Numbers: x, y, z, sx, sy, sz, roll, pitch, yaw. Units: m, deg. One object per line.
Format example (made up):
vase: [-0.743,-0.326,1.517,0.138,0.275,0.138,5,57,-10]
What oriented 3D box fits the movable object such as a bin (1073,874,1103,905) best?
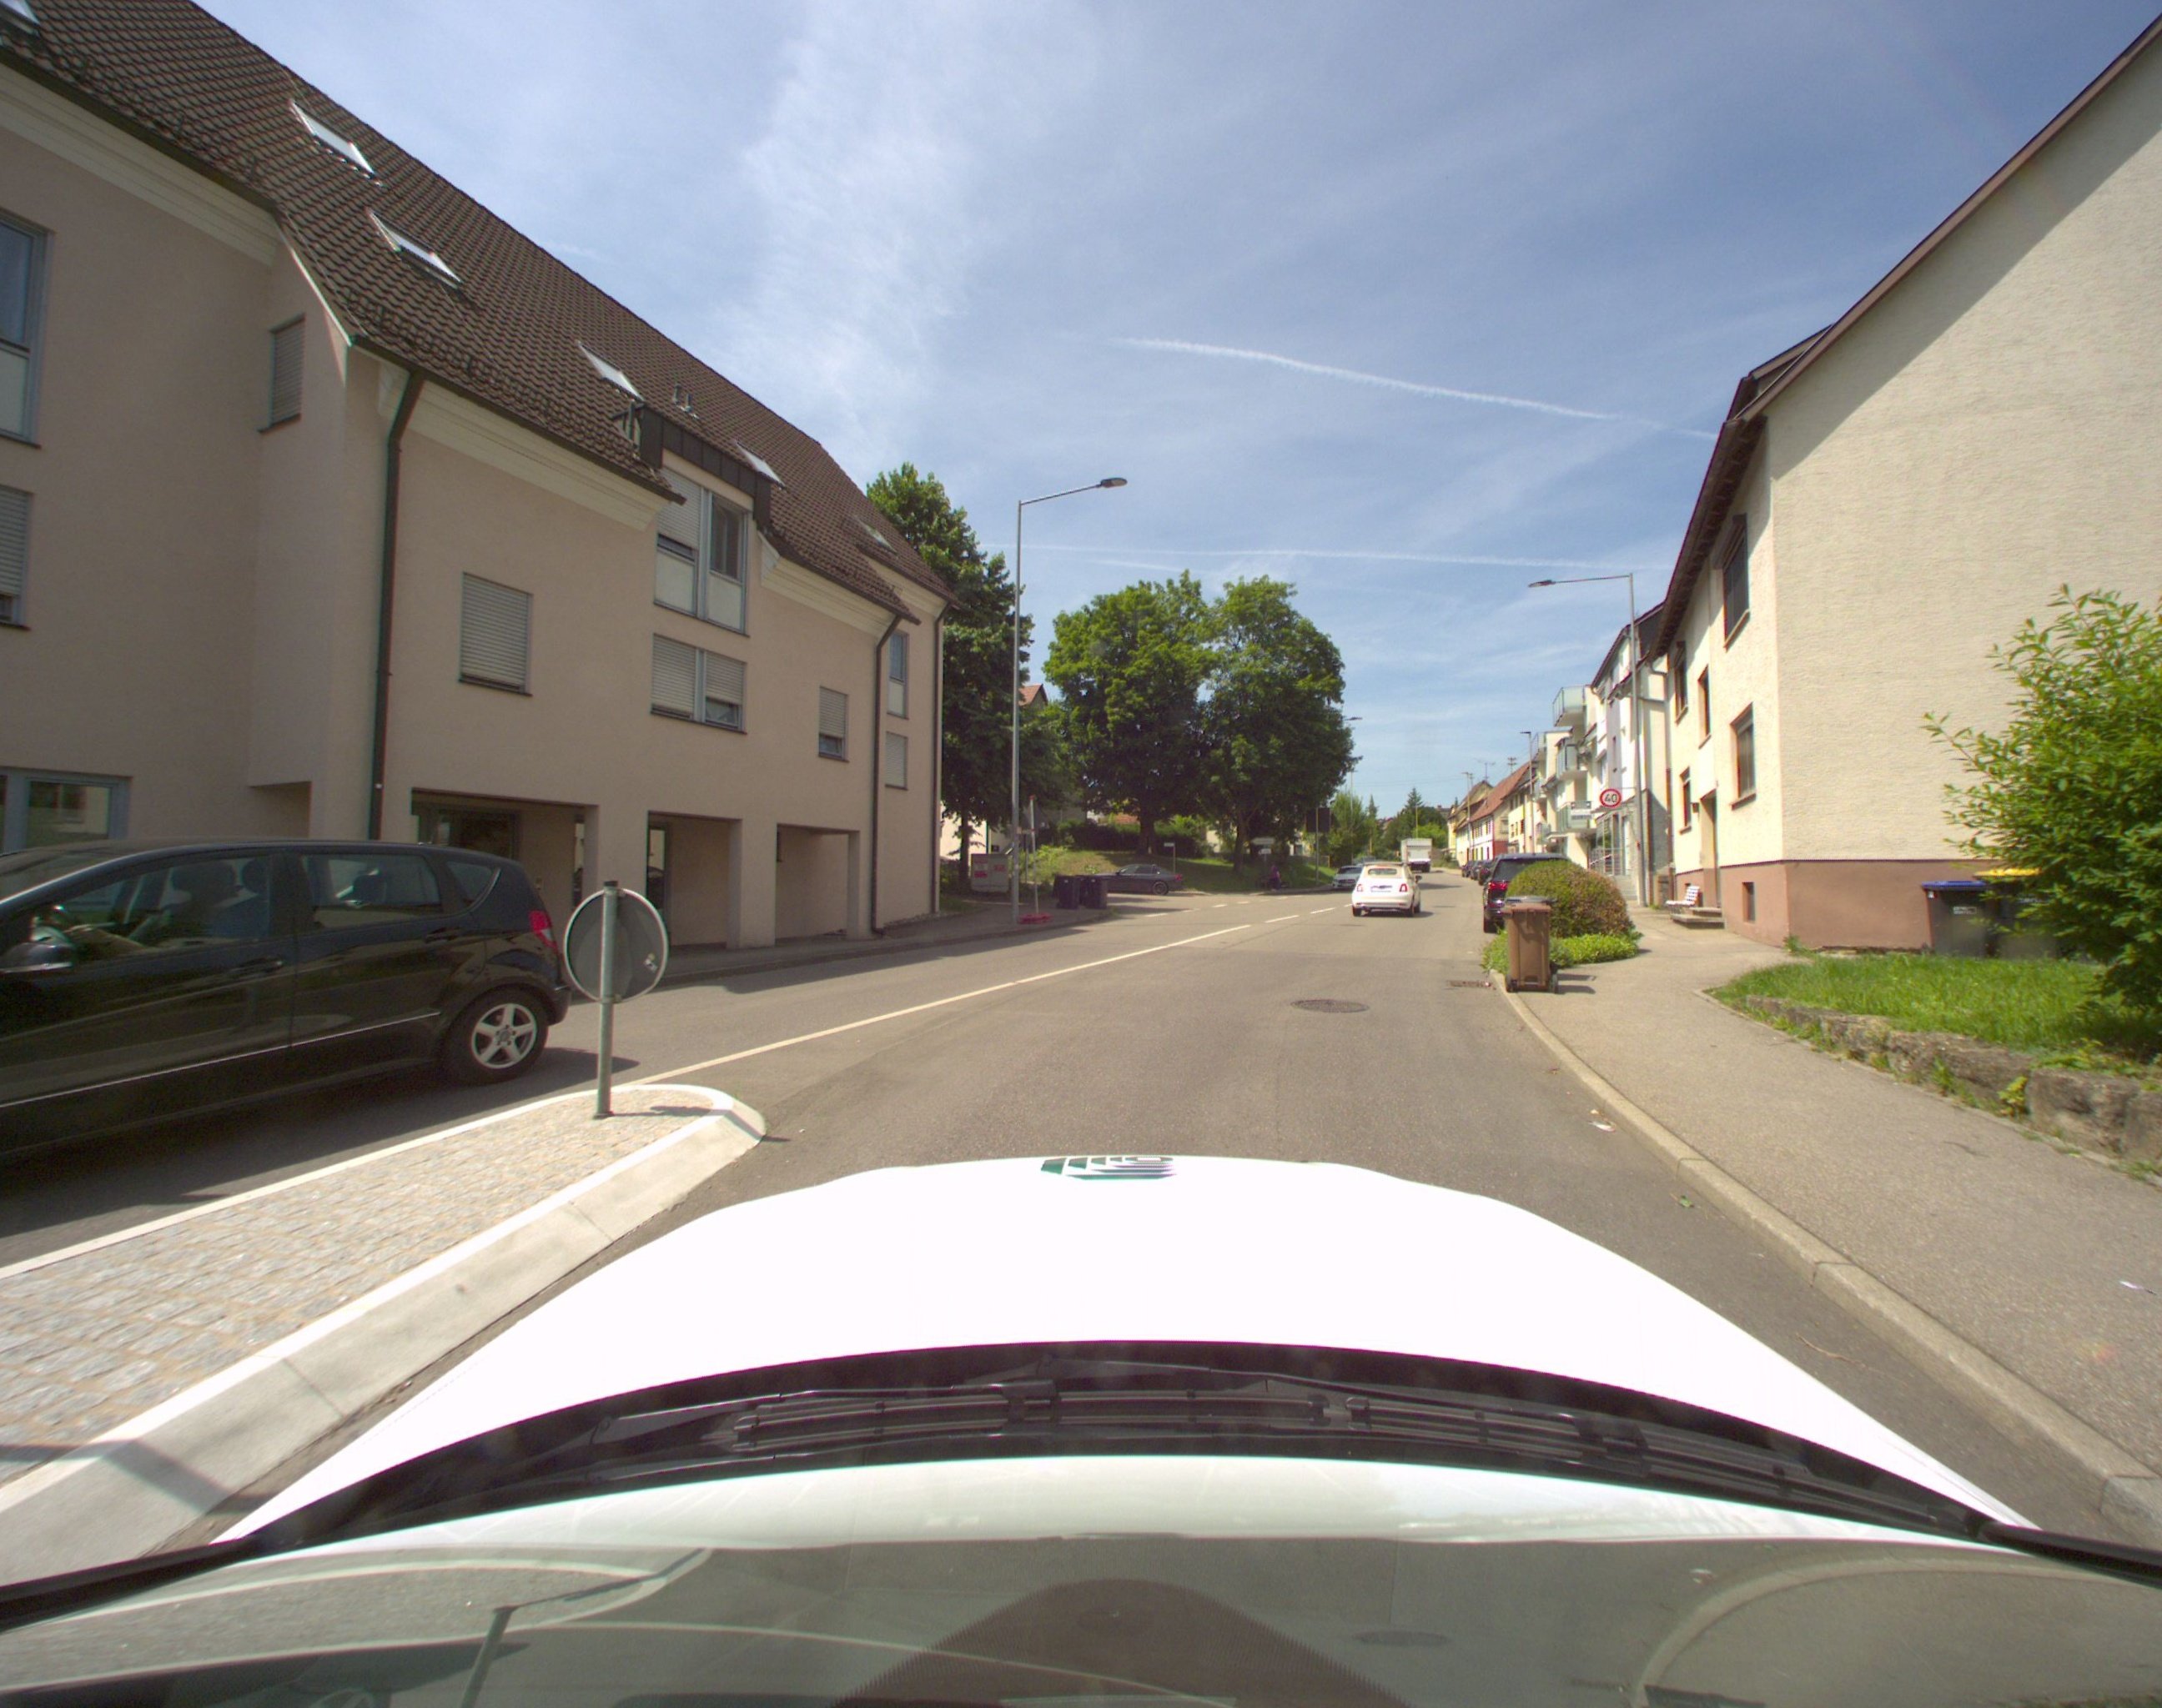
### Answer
movable object such as a bin: [0.240,1.206,27.726,0.764,1.000,0.612,3,-1,29]

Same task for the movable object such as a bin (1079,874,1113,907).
movable object such as a bin: [0.472,1.148,25.632,0.843,1.000,0.698,-1,-1,29]

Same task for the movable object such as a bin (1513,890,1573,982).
movable object such as a bin: [5.343,0.927,9.417,0.519,0.993,0.505,0,0,41]

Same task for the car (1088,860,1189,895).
car: [2.885,1.143,40.281,4.748,1.479,2.004,2,-1,8]

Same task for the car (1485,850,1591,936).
car: [10.099,0.790,18.223,1.826,1.670,4.683,0,-1,27]

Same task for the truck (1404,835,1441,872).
truck: [37.157,0.044,88.900,3.043,3.774,7.904,-2,-2,19]

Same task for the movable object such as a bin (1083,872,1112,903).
movable object such as a bin: [0.584,1.171,28.381,0.764,1.000,0.612,3,-1,30]

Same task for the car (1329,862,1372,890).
car: [15.585,1.238,46.957,1.738,1.467,4.388,-3,-2,26]

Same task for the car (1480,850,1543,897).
car: [17.528,0.768,33.348,1.935,1.716,4.743,-4,-2,25]

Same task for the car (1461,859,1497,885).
car: [23.737,1.053,48.607,1.780,1.425,4.315,-3,-2,25]

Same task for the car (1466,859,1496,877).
car: [32.442,1.127,66.190,1.652,1.352,4.207,-1,-1,19]

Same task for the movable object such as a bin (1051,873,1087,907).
movable object such as a bin: [-0.382,1.116,25.266,0.793,1.000,0.810,1,0,29]

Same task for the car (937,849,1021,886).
car: [-5.350,0.683,42.745,3.949,1.684,1.921,3,0,30]

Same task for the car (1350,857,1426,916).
car: [9.040,0.908,23.799,1.709,1.560,4.023,-1,-1,25]

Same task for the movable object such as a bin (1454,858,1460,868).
movable object such as a bin: [44.214,1.061,95.757,0.542,1.033,0.554,-4,-1,18]

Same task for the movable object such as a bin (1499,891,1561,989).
movable object such as a bin: [4.825,0.912,8.779,0.496,0.993,0.506,0,-1,19]

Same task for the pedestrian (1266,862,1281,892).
pedestrian: [10.431,1.220,44.179,0.725,1.617,0.631,0,-1,10]

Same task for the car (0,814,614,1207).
car: [-4.902,0.643,4.330,1.737,1.584,3.964,0,-1,20]

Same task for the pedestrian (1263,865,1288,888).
pedestrian: [10.965,1.253,45.925,1.224,1.269,0.650,0,-1,30]
